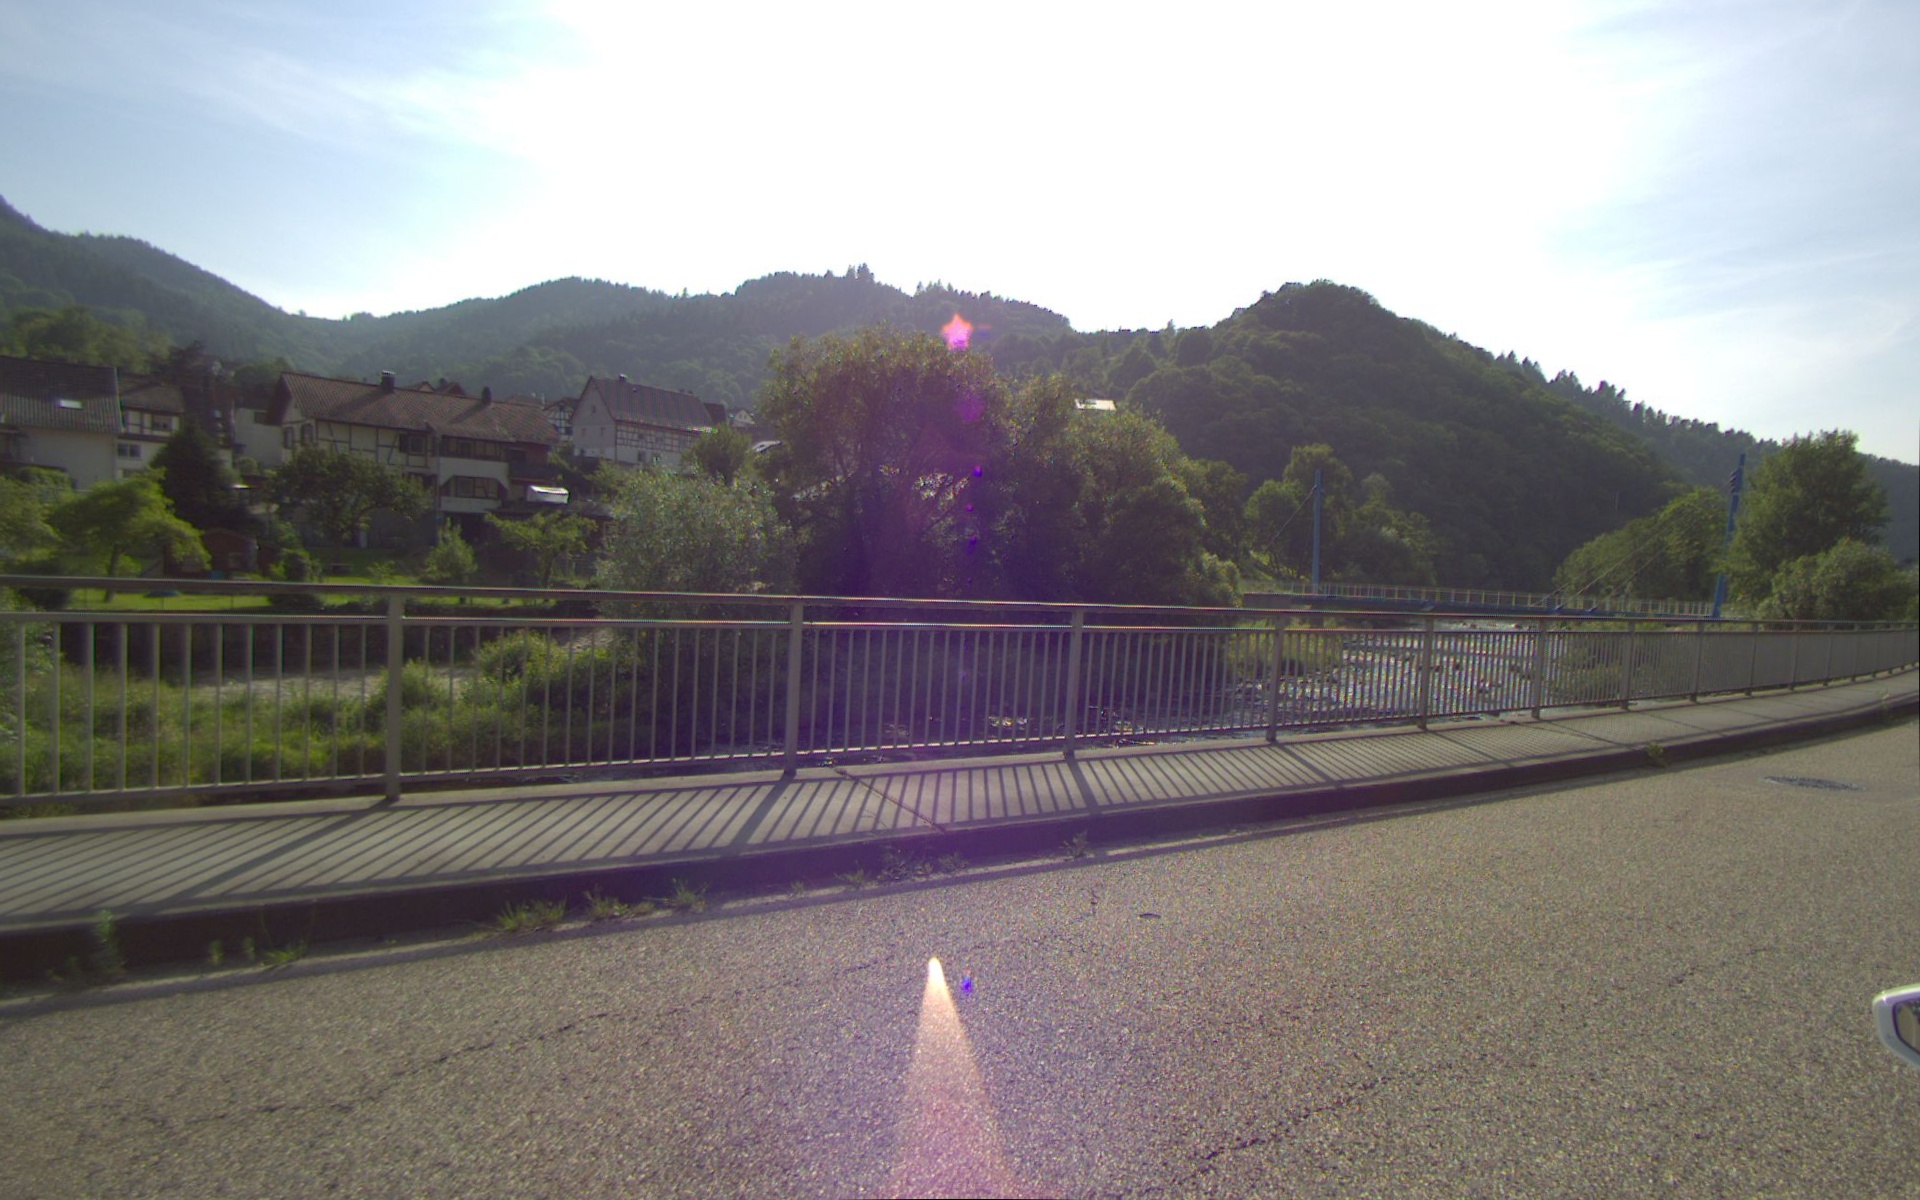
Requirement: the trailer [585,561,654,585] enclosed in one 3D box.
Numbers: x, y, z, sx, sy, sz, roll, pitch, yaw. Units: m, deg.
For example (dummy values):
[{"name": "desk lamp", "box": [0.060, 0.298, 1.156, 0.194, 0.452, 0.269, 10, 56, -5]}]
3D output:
[{"name": "trailer", "box": [-20.960, -1.630, 61.952, 1.866, 1.327, 3.687, 1, 0, 35]}]
